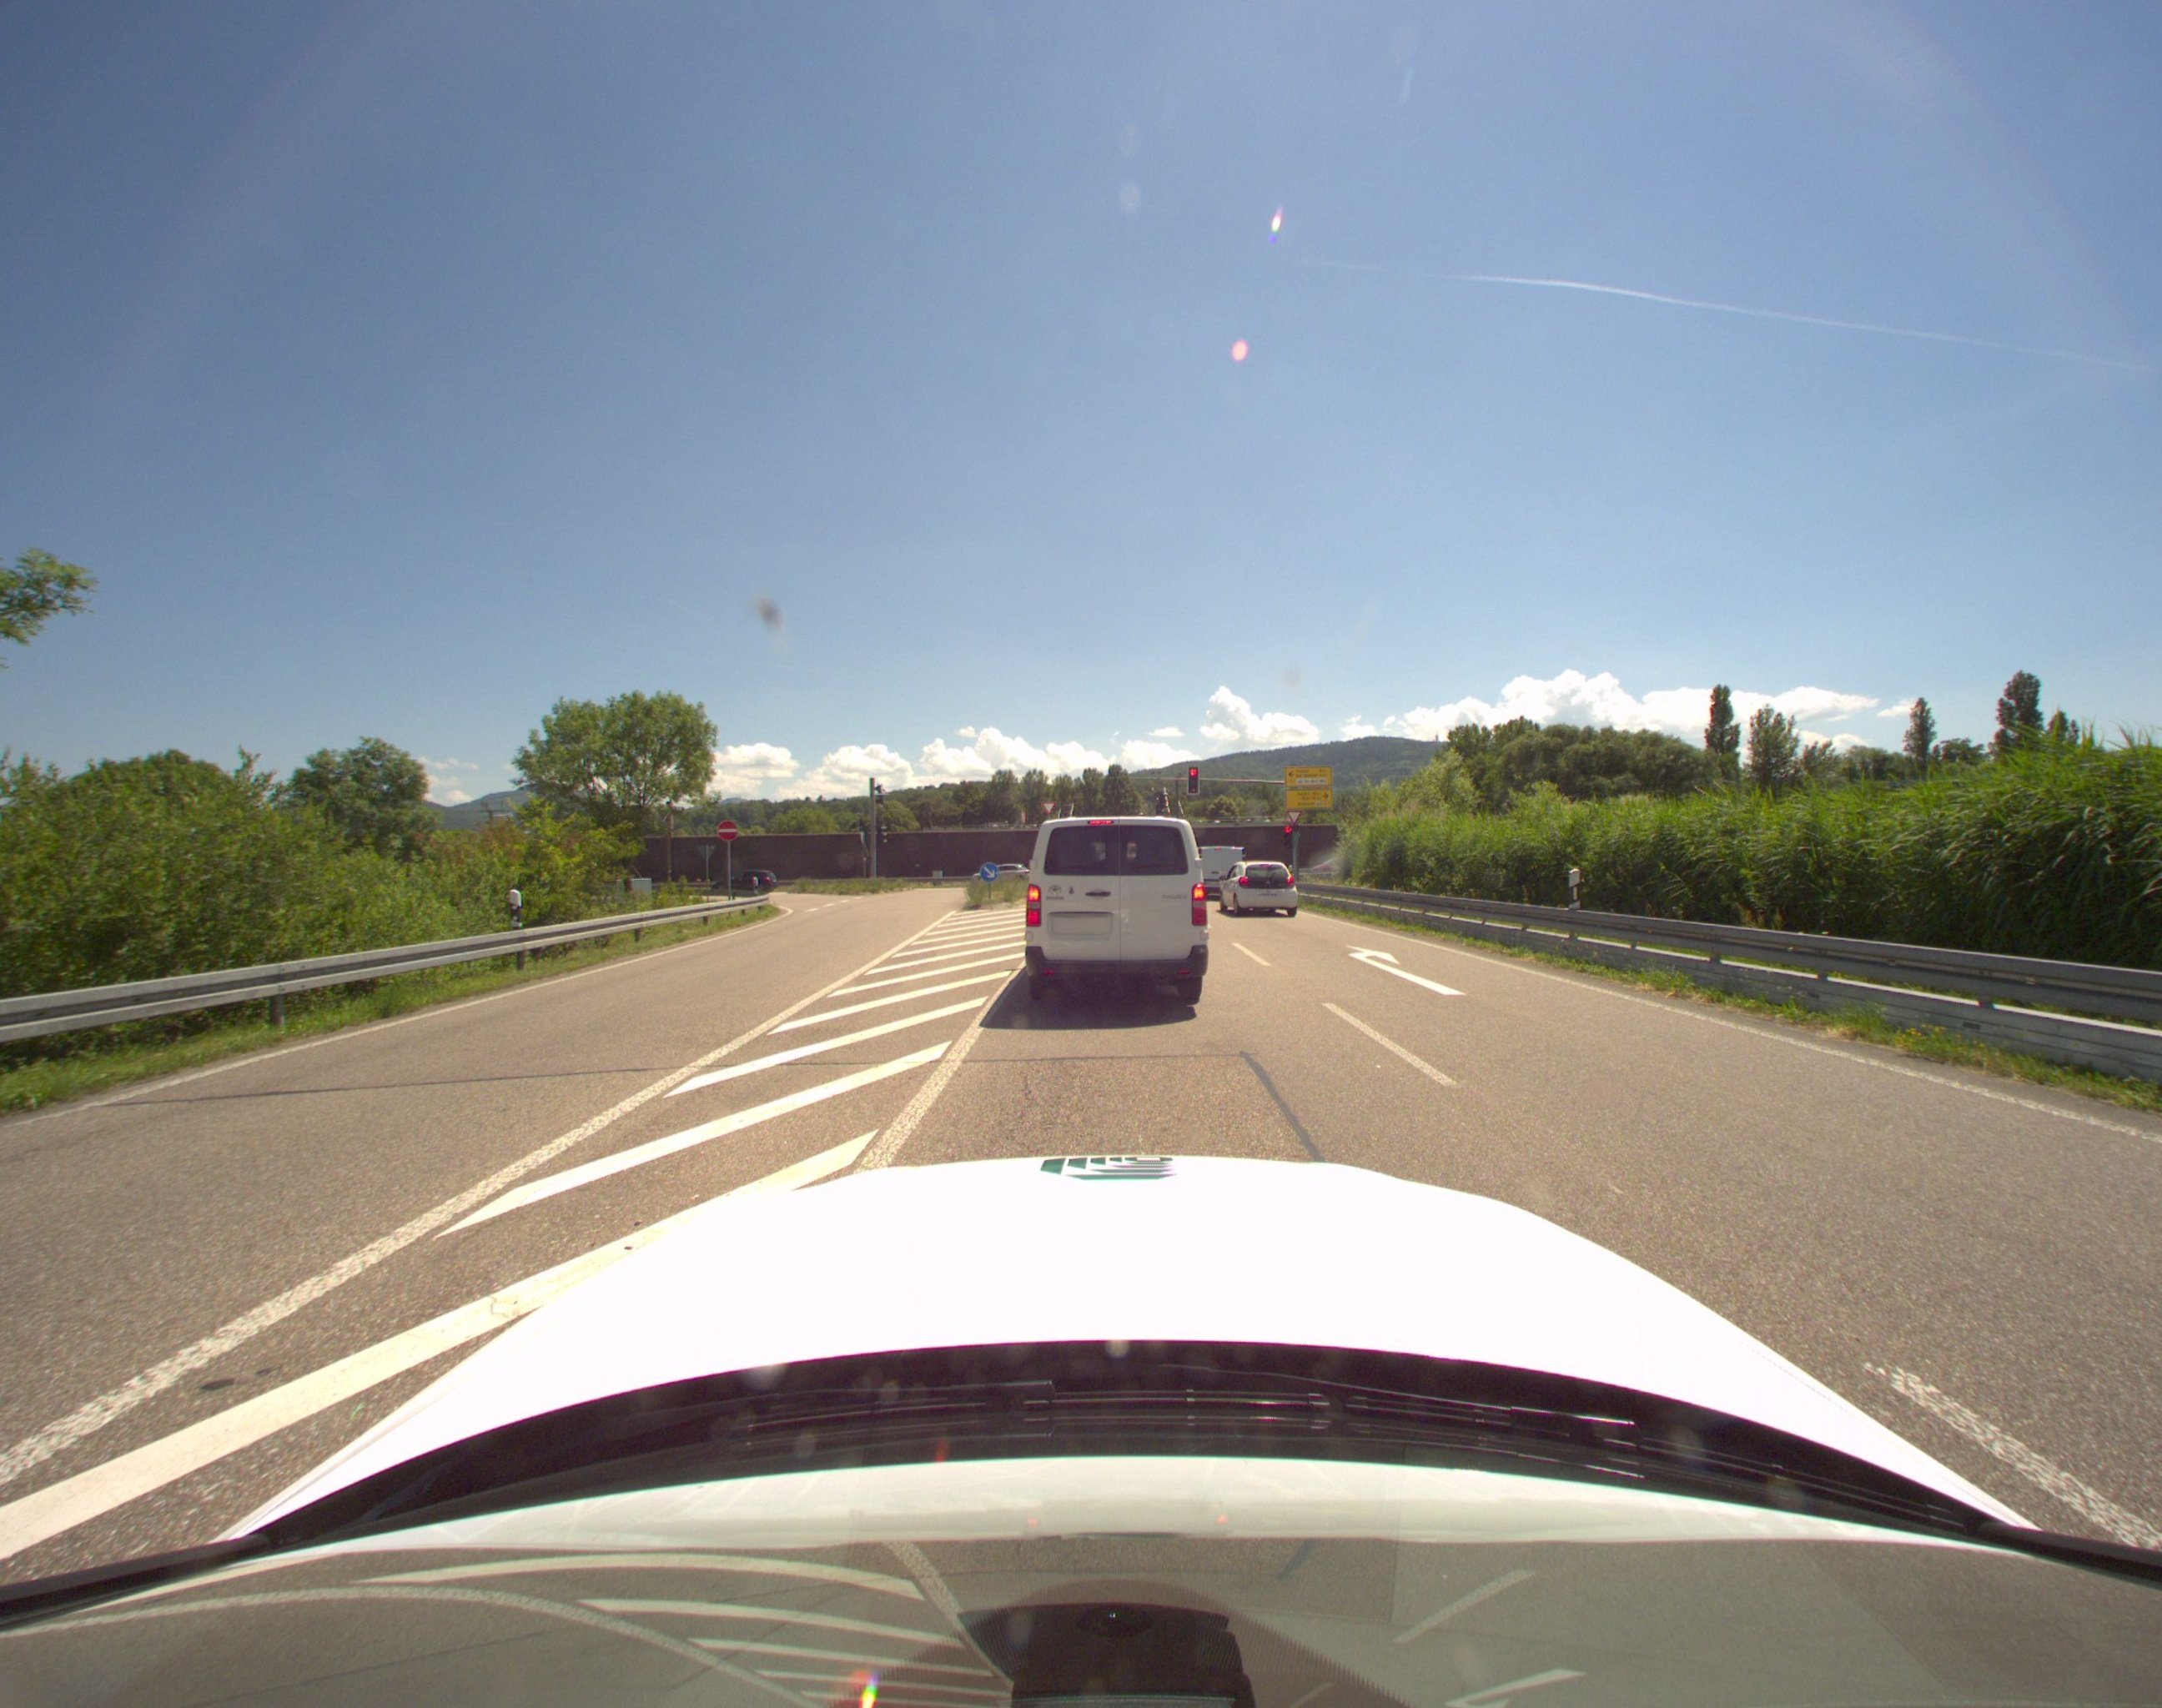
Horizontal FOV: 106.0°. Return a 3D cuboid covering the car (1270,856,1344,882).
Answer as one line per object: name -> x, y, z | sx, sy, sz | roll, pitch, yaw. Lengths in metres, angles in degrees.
car -> 14.775, 0.966, 53.479 | 4.297, 1.656, 1.999 | -1, -1, -1

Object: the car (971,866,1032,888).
car -> -5.452, 1.563, 56.335 | 3.975, 1.485, 1.999 | -1, -1, -1

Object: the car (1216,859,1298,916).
car -> 4.810, 0.879, 22.621 | 1.649, 1.431, 3.367 | 0, -1, 2

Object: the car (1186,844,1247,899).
car -> 5.270, 0.659, 32.143 | 1.920, 2.000, 4.842 | 0, -1, 4

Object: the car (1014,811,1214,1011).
car -> 0.373, 0.563, 9.718 | 1.879, 1.886, 4.001 | 0, -1, 2

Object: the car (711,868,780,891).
car -> -23.128, 1.740, 56.299 | 3.979, 1.485, 1.997 | 0, -1, -4
